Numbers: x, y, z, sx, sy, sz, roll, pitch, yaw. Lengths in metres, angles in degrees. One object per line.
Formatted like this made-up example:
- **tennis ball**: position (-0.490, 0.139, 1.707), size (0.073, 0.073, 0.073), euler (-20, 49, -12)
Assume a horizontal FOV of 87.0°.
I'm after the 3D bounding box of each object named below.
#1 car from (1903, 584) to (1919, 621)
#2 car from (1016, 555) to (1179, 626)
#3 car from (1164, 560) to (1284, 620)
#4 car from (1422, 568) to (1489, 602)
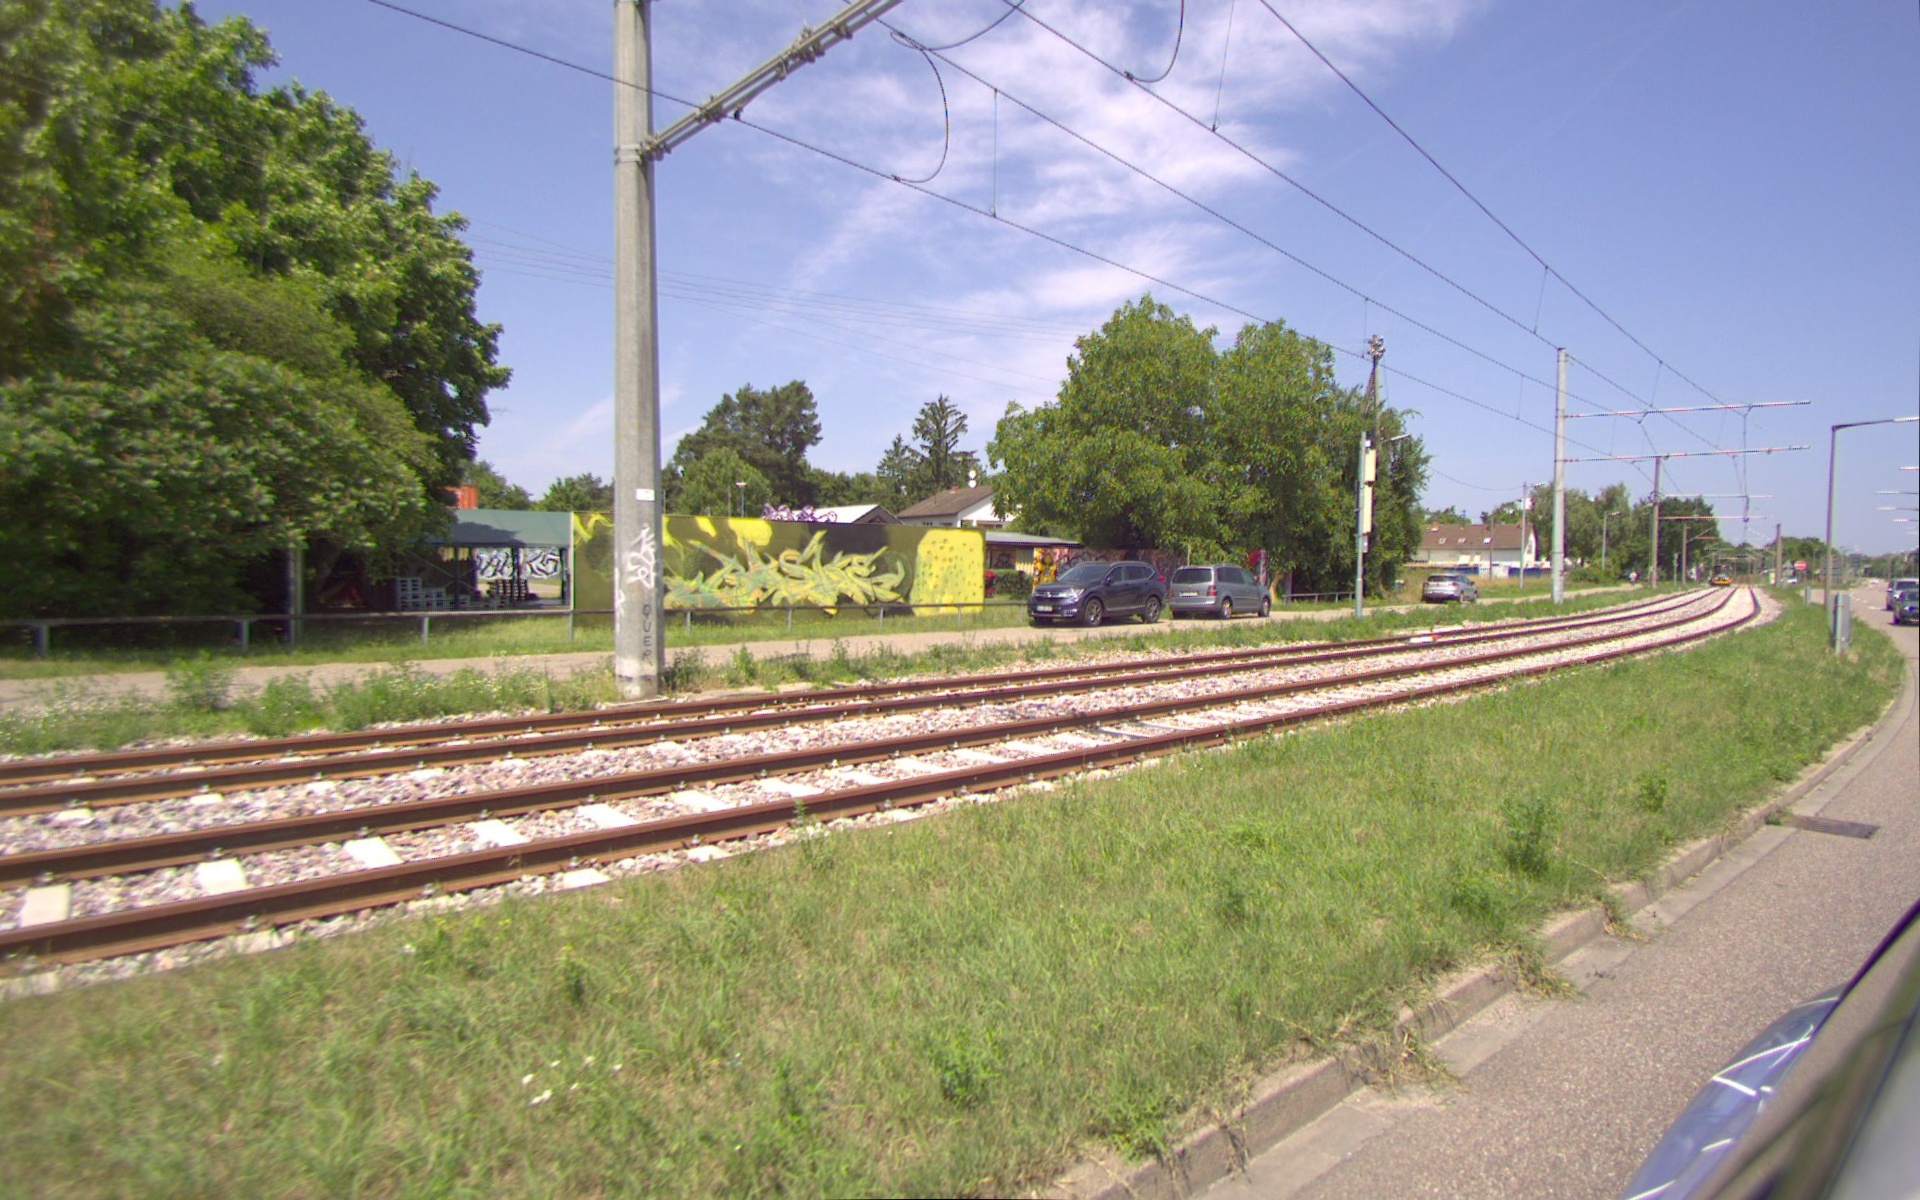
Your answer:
- **car**: position (41.466, 0.104, 43.281), size (1.505, 1.449, 3.309), euler (2, 4, 41)
- **car**: position (3.721, -0.331, 26.722), size (1.828, 1.676, 4.740), euler (2, 4, 44)
- **car**: position (8.164, -0.376, 31.030), size (1.675, 1.644, 4.643), euler (2, 4, 41)
- **car**: position (23.542, -0.759, 47.987), size (1.680, 1.431, 4.482), euler (2, 4, 42)
